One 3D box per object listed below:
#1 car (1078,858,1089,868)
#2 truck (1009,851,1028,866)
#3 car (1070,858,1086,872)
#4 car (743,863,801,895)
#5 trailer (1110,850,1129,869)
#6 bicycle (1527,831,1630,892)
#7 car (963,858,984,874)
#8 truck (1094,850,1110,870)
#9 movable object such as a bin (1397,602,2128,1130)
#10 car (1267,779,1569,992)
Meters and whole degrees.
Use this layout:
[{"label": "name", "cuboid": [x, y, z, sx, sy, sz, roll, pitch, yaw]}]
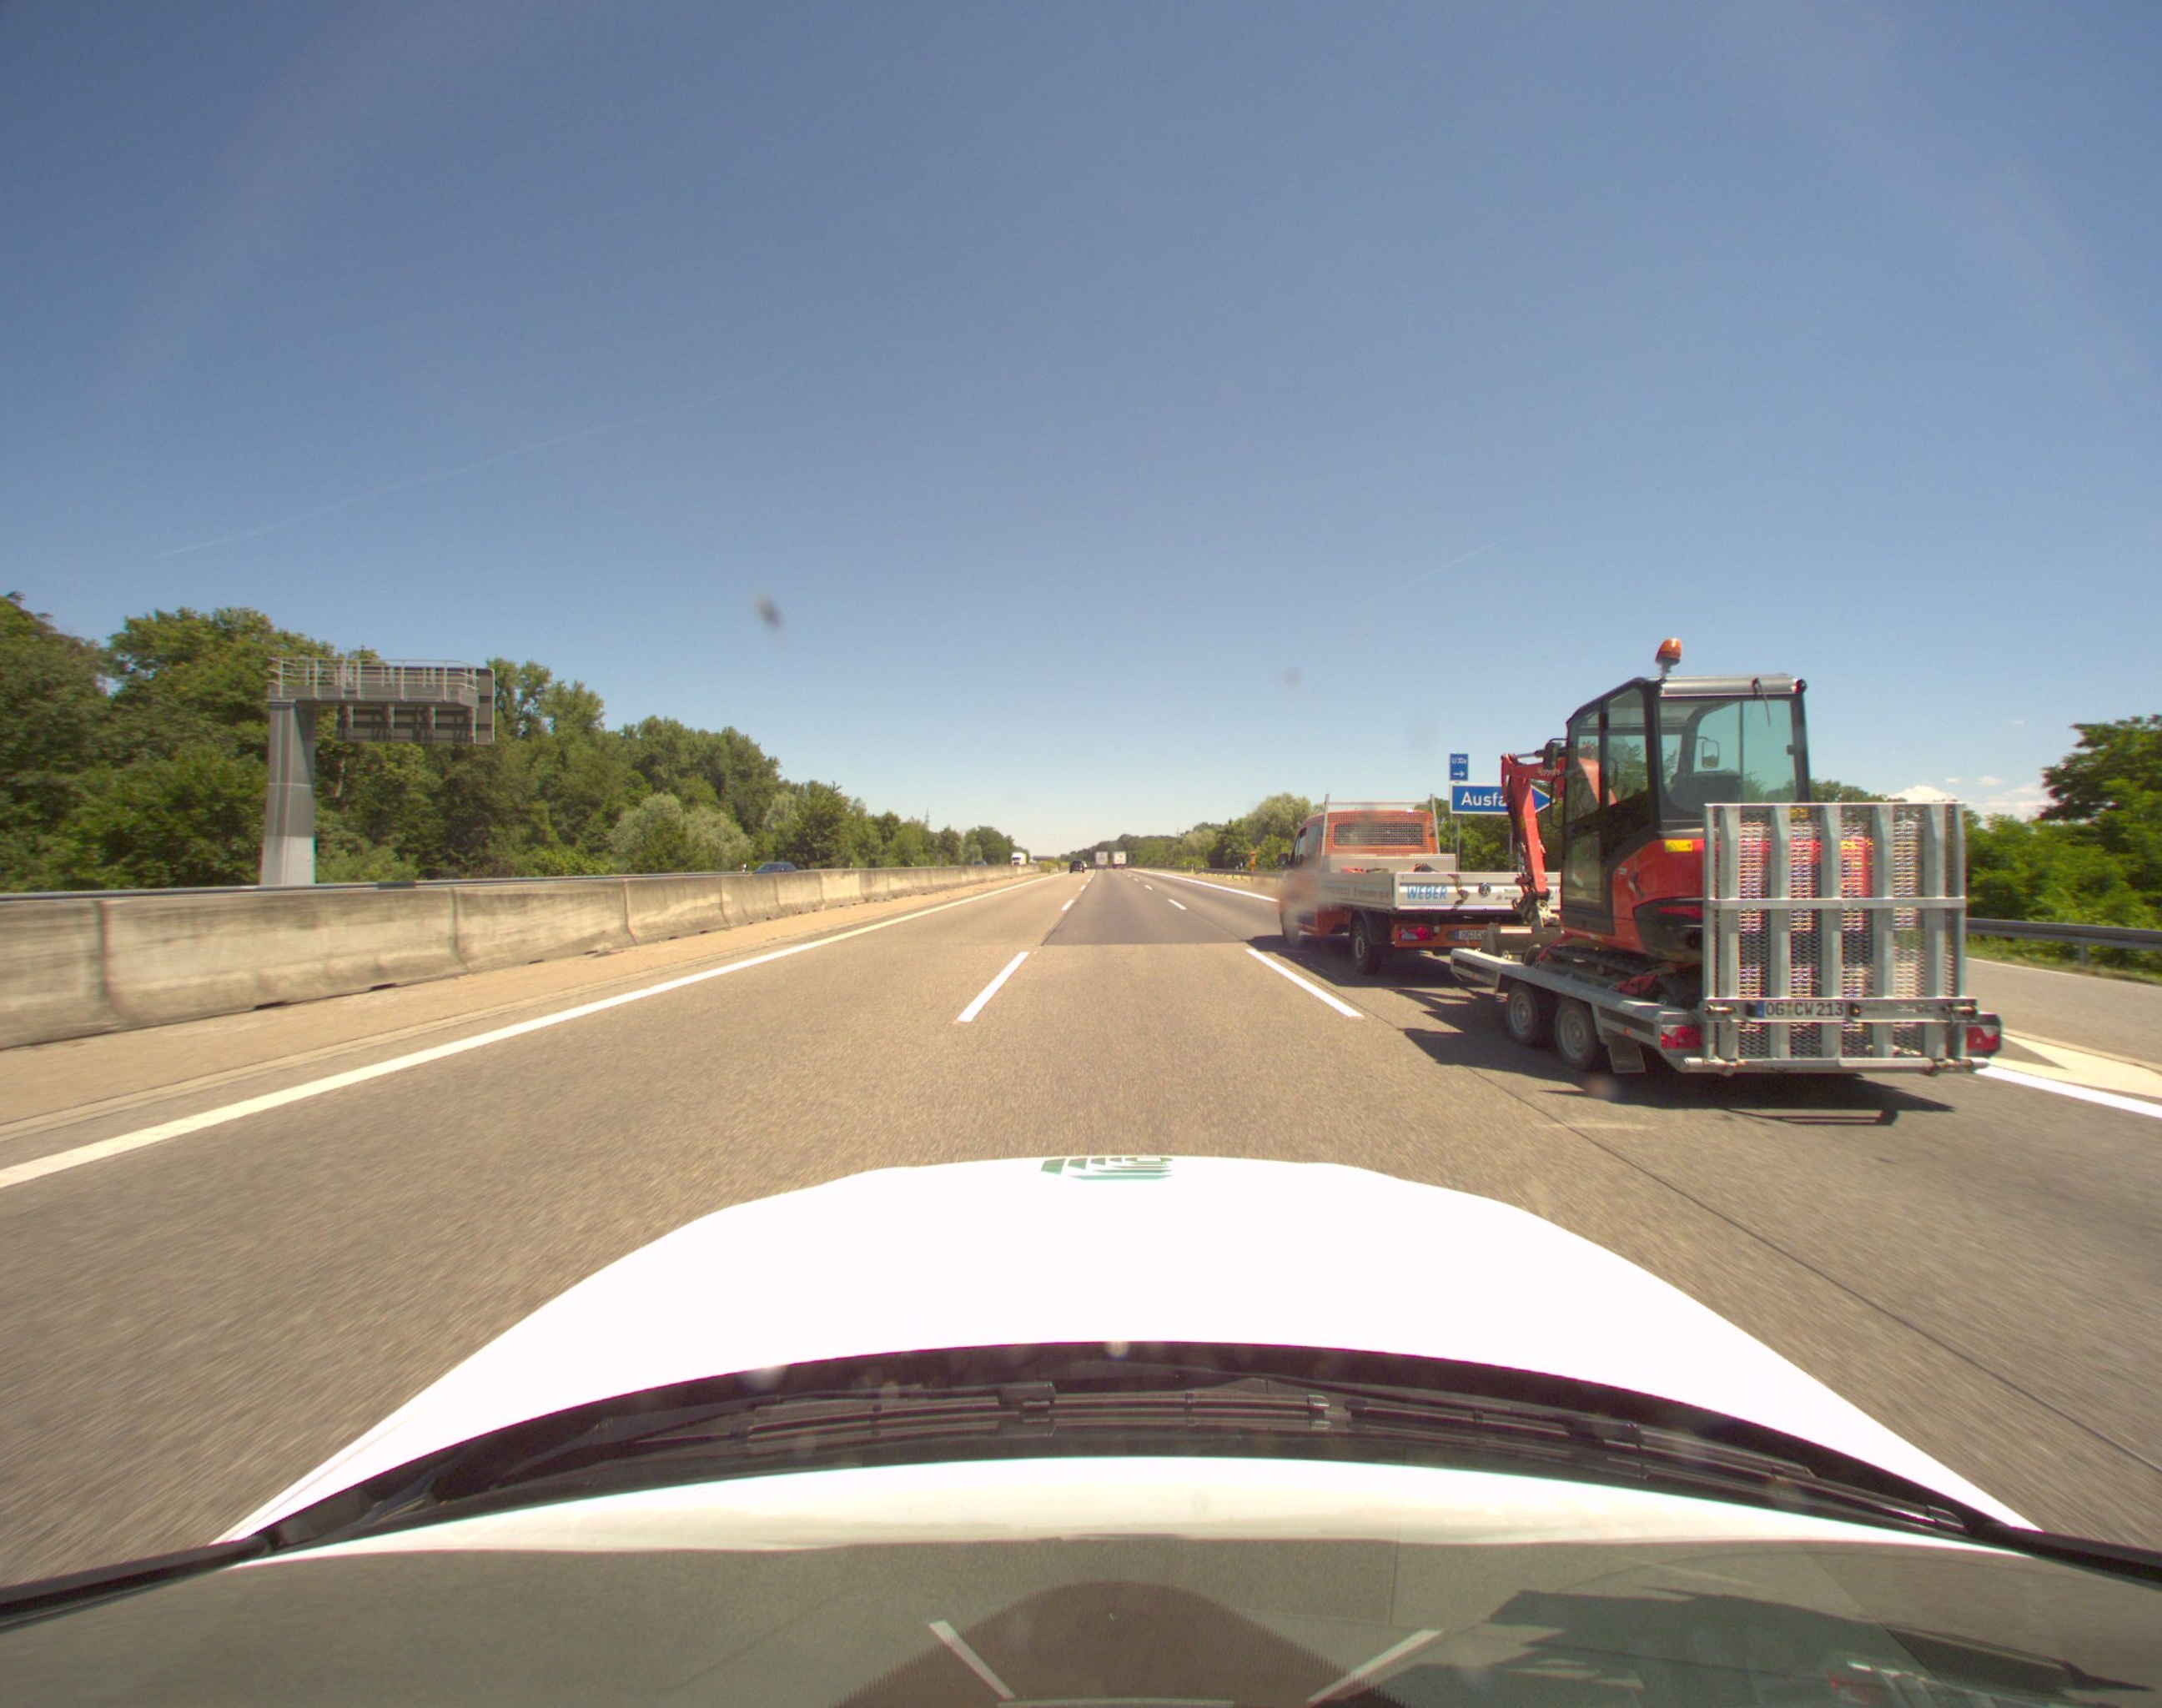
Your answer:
[{"label": "car", "cuboid": [0.493, 1.747, 159.449, 1.987, 1.874, 4.000, 1, 0, 0]}, {"label": "truck", "cuboid": [-16.240, 1.216, 213.727, 3.586, 3.735, 17.483, 0, -1, 0]}, {"label": "car", "cuboid": [-0.340, 1.514, 109.565, 1.986, 1.874, 4.001, 0, 0, 2]}, {"label": "car", "cuboid": [-20.629, 1.622, 54.555, 1.985, 2.014, 4.432, 0, 0, 3]}, {"label": "trailer", "cuboid": [8.743, 1.288, 186.237, 3.361, 4.142, 9.079, 3, 0, -4]}, {"label": "bicycle", "cuboid": [10.606, 0.168, 17.498, 0.954, 1.157, 2.614, 3, 0, 10]}, {"label": "car", "cuboid": [-13.328, 1.482, 101.248, 1.986, 2.014, 4.087, 0, 0, 2]}, {"label": "truck", "cuboid": [4.553, 1.283, 179.153, 3.218, 4.202, 8.466, 2, 0, 1]}, {"label": "movable object such as a bin", "cuboid": [4.556, 0.073, 6.736, 2.166, 2.815, 4.763, 0, 0, 2]}, {"label": "car", "cuboid": [4.629, 0.372, 12.816, 1.986, 2.405, 7.229, 0, 0, 2]}]
